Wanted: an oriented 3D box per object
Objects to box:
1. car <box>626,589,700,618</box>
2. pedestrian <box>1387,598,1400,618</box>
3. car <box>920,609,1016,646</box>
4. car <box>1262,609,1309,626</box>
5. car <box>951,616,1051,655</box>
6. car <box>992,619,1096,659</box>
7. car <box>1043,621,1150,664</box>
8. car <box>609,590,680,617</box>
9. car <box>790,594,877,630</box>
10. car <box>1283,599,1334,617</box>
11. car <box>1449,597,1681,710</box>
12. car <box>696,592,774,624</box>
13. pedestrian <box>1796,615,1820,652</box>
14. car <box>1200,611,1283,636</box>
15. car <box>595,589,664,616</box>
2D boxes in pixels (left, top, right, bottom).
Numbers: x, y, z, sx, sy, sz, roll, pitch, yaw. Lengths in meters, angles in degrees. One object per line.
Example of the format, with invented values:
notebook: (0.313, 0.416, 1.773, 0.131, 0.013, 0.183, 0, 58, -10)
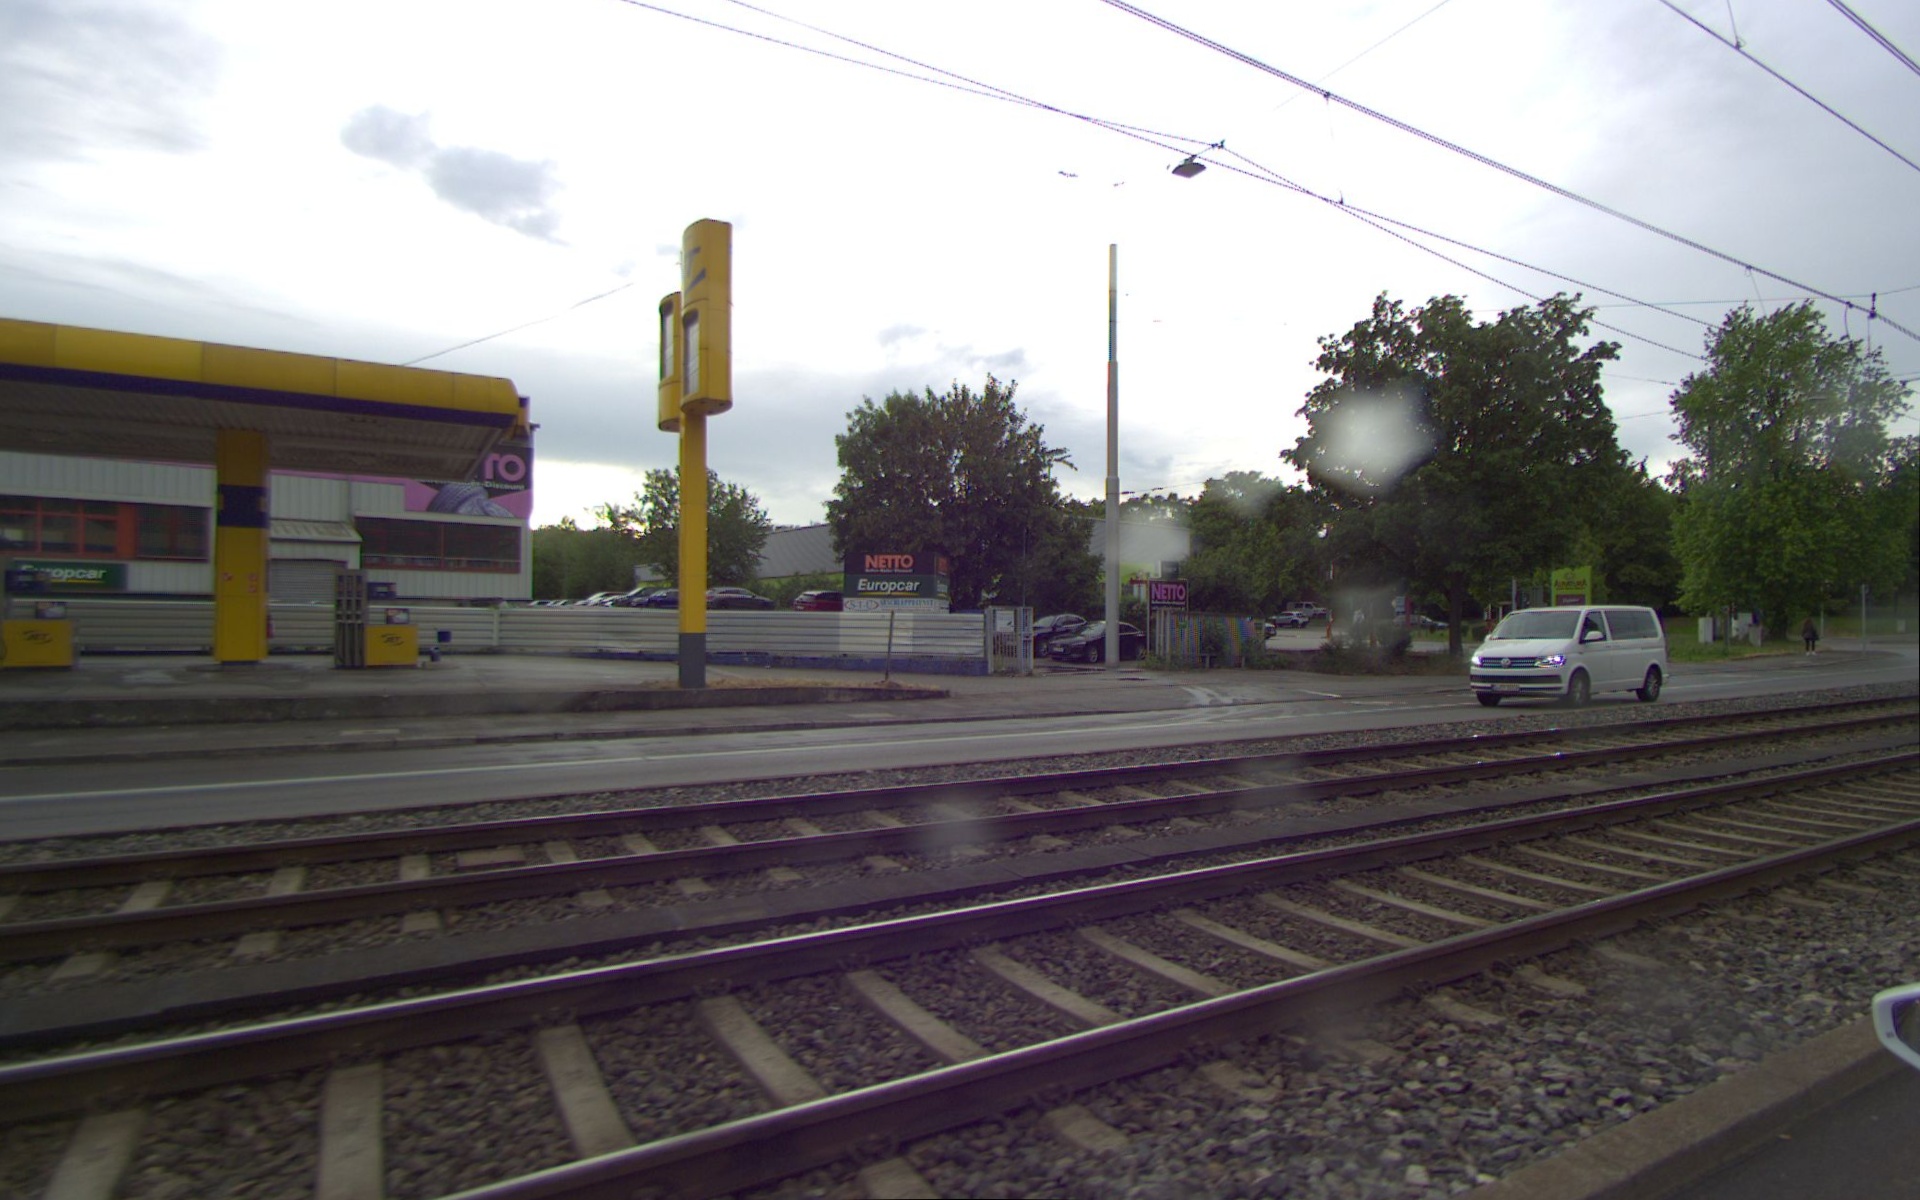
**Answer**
car: (-18.486, 0.238, 62.616, 3.967, 1.633, 1.850, 2, -1, -40)
pedestrian: (34.347, 0.637, 79.547, 0.598, 1.623, 0.673, 2, 0, -25)
car: (0.381, 1.200, 43.096, 3.966, 1.476, 1.672, 2, -1, -39)
car: (32.290, 1.716, 99.685, 1.829, 1.554, 4.150, 1, 0, -42)
car: (1.712, 1.466, 41.313, 3.966, 1.476, 1.672, 2, -1, -39)
car: (3.310, 1.526, 39.270, 3.966, 1.476, 1.672, 2, -1, -39)
car: (5.071, 1.566, 37.054, 3.966, 1.476, 1.672, 2, -1, -39)
car: (-20.303, 0.237, 64.672, 3.967, 1.633, 1.850, 2, -1, -40)
car: (-6.206, 0.619, 49.597, 3.966, 1.639, 1.672, 2, -1, -39)
car: (38.451, 0.890, 110.934, 1.981, 1.829, 5.094, 2, -1, -36)
car: (12.332, 1.051, 20.382, 5.005, 2.040, 1.983, 1, -3, -33)
car: (-12.739, 0.462, 56.905, 3.966, 1.639, 1.672, 2, -1, -39)
pedestrian: (36.267, 1.419, 42.977, 0.661, 1.552, 0.588, 2, 0, -32)
car: (15.927, 1.311, 56.968, 1.759, 1.363, 4.331, 1, -1, -38)
car: (-22.022, 0.156, 66.939, 3.967, 1.633, 1.850, 2, -1, -40)
